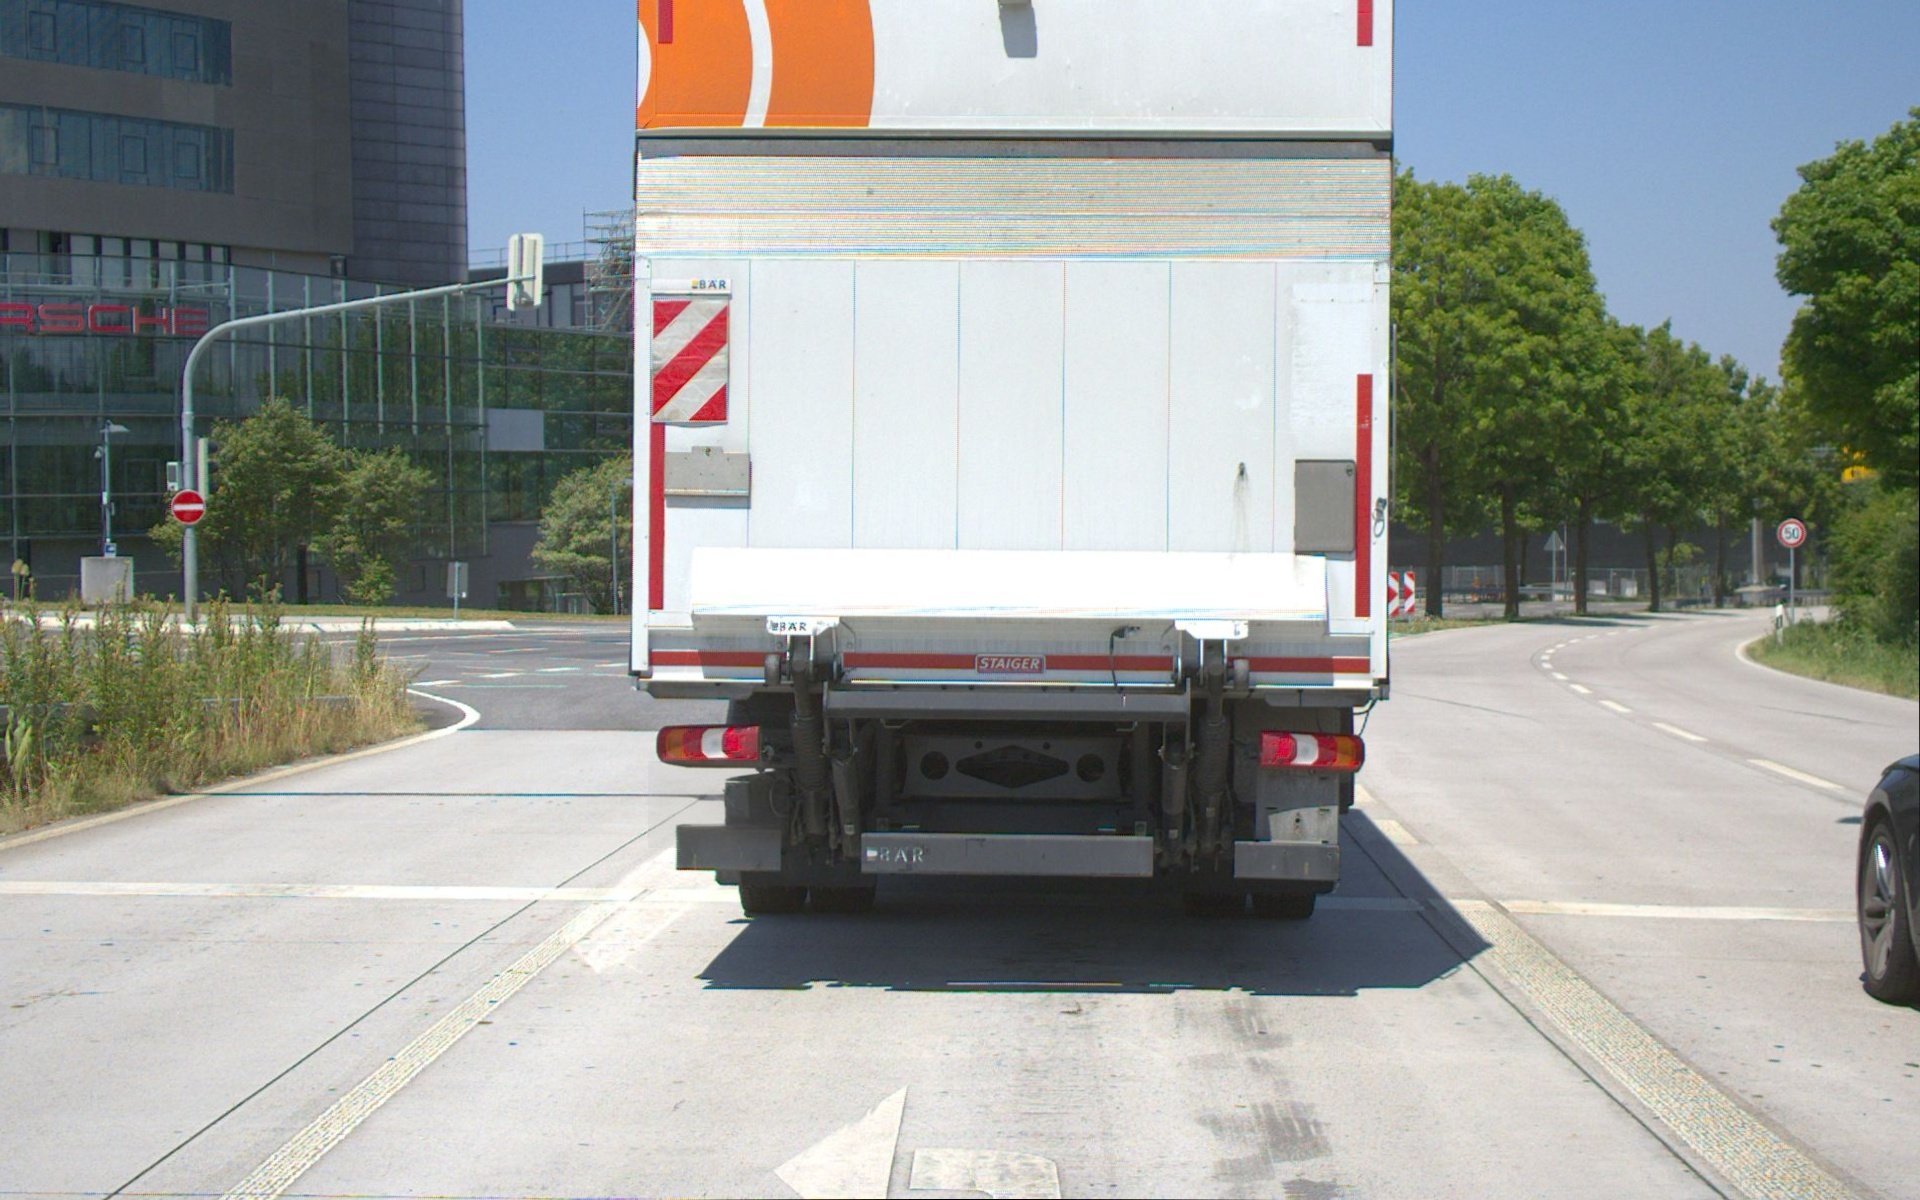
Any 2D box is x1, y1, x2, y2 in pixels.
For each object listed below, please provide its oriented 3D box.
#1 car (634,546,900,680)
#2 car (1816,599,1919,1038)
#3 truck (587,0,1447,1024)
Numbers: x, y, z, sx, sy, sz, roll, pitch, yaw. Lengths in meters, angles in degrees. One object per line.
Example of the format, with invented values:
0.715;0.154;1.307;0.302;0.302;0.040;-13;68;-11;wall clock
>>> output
-2.402;0.136;41.873;1.802;1.551;4.001;1;0;-26;car
3.968;0.728;10.250;1.767;1.405;4.610;1;0;1;car
0.341;-0.592;15.915;2.769;3.846;9.370;1;0;2;truck
